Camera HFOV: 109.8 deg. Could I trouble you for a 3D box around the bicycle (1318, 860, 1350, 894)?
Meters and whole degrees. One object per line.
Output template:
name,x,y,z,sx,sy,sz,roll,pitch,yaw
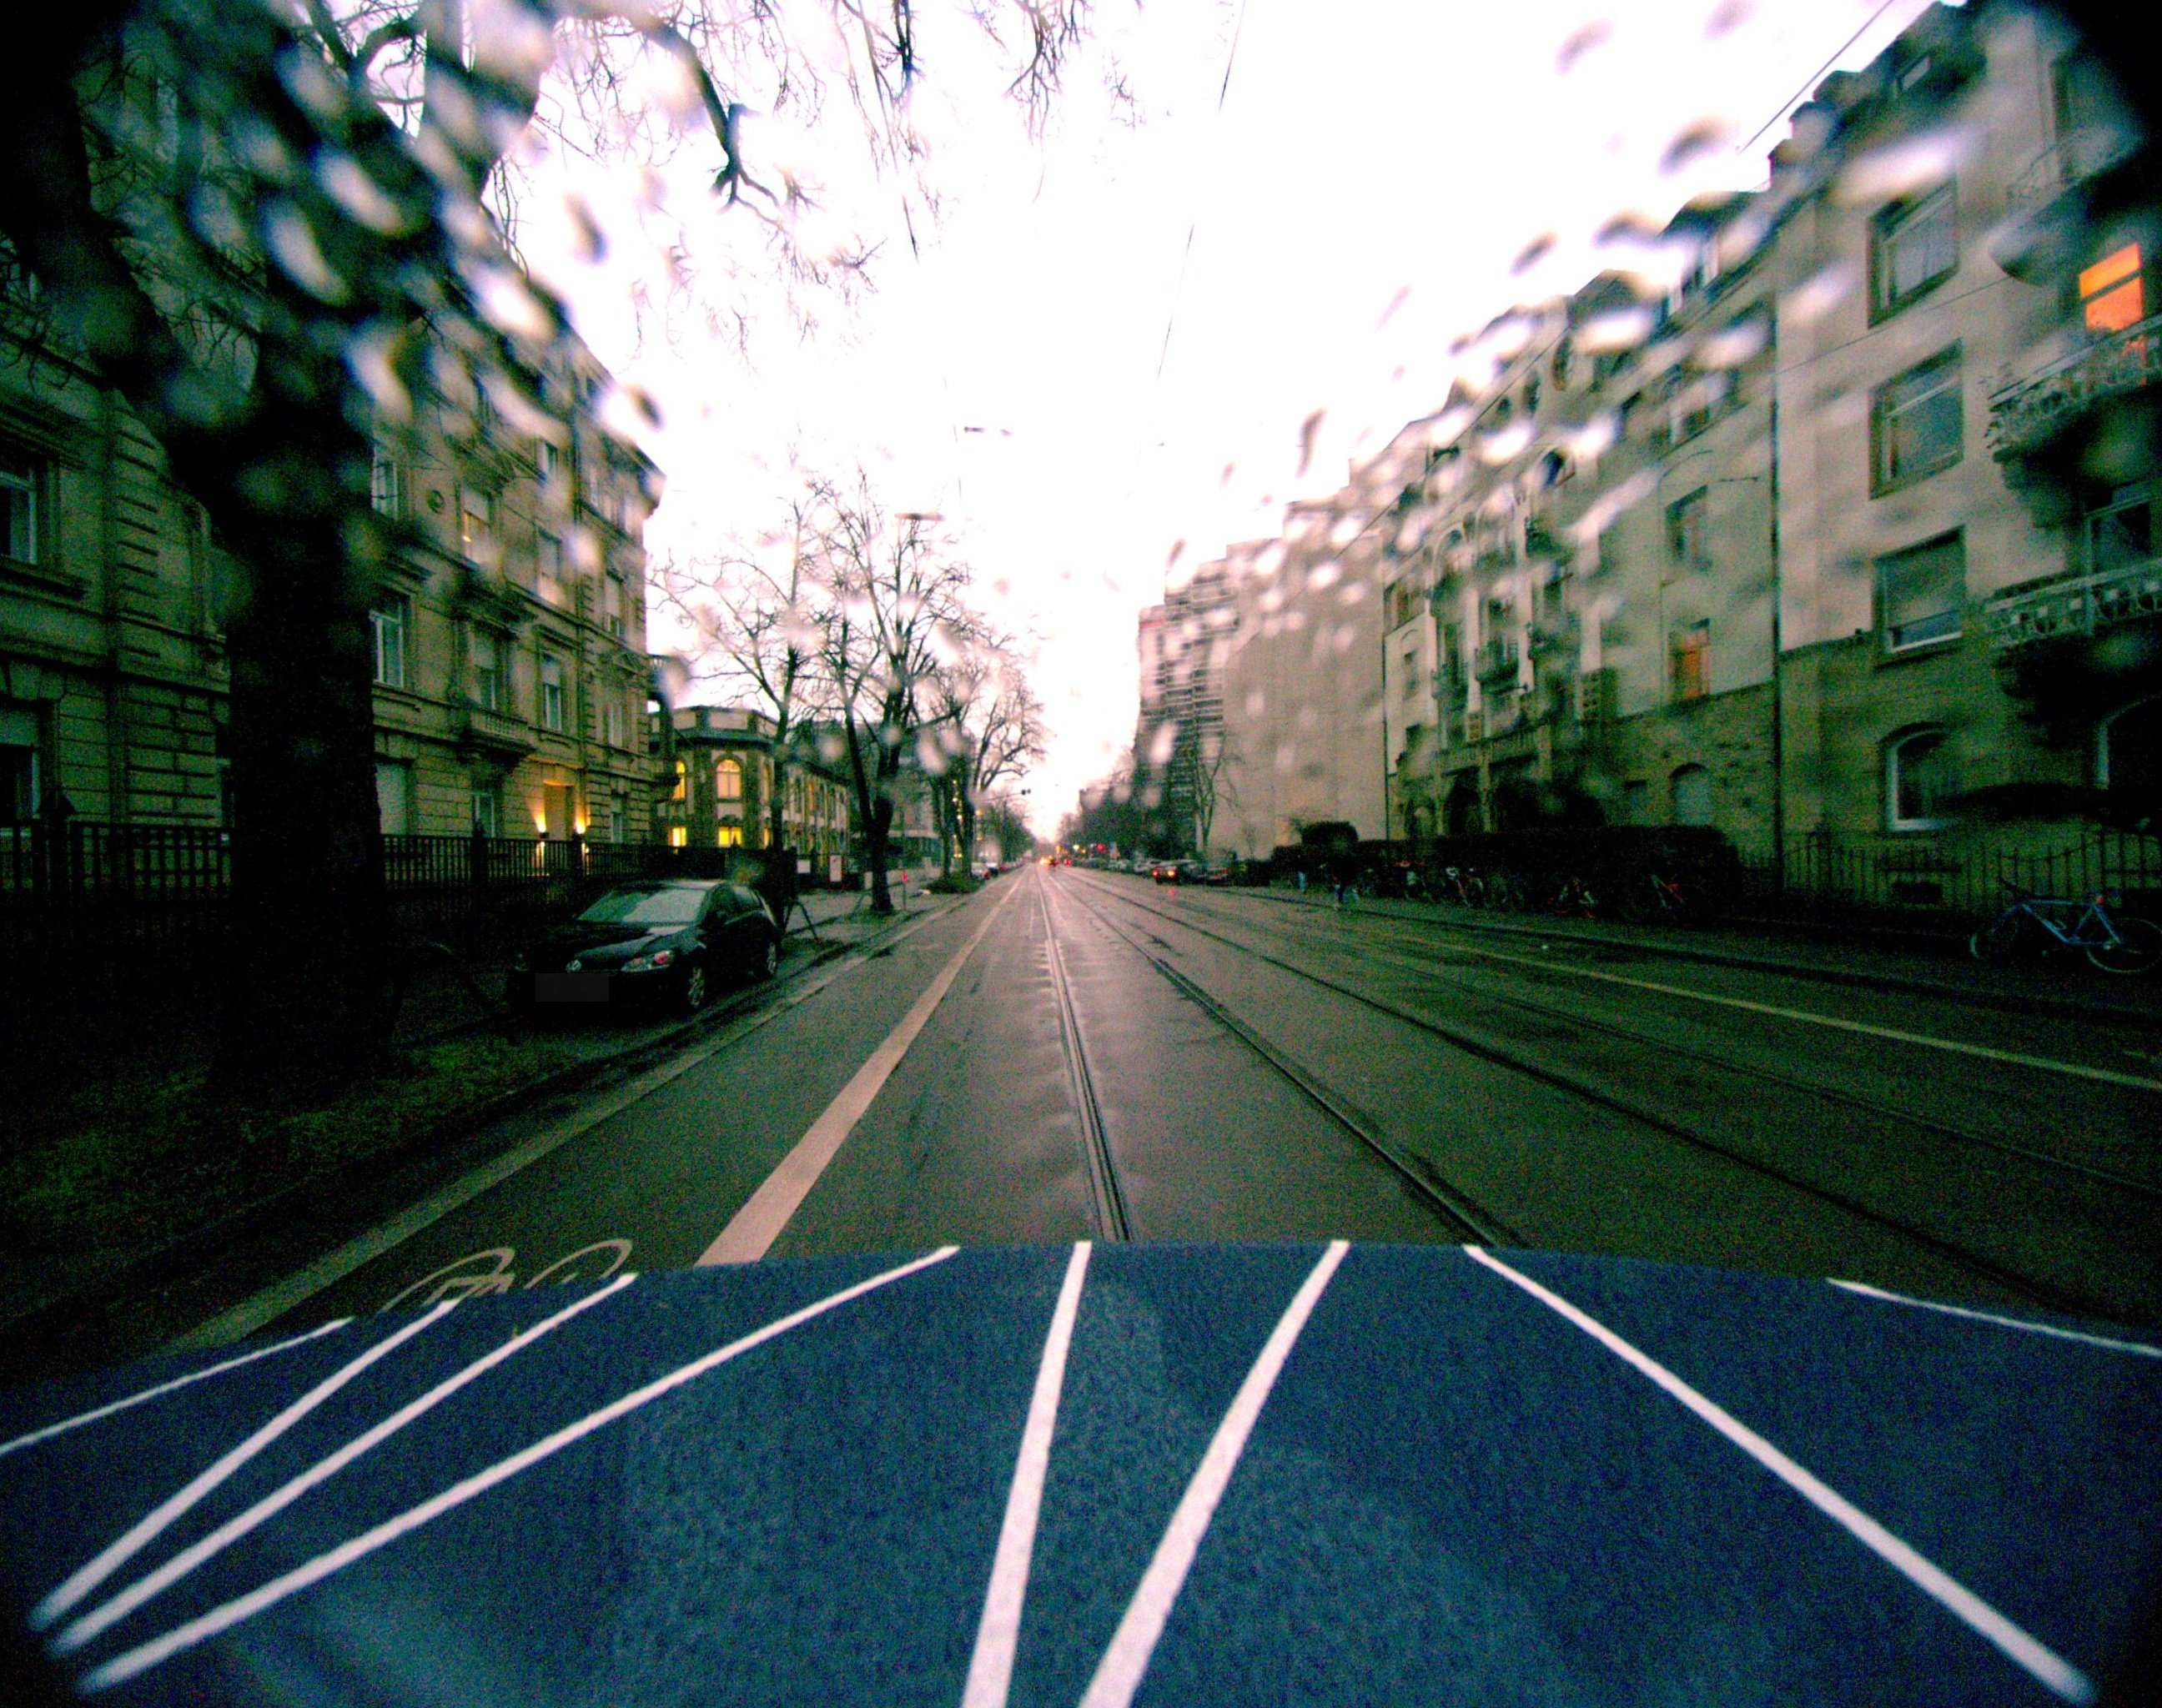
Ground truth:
bicycle,9.511,0.850,28.609,0.625,1.205,1.662,-1,0,-1

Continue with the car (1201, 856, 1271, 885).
car,8.816,0.899,43.083,4.008,1.477,1.760,-2,0,-40

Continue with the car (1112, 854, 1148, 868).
car,5.921,0.808,91.468,4.008,1.586,1.864,-2,0,-40

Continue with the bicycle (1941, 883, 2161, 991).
bicycle,10.718,0.849,8.354,0.625,0.997,1.662,-1,0,-1

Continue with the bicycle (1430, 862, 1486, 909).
bicycle,9.981,0.808,20.194,0.625,1.157,1.662,-1,0,-1

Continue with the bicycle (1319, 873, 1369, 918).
bicycle,6.924,1.070,20.110,0.625,1.086,1.947,-1,0,-1

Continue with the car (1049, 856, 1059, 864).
car,-6.773,1.509,191.753,2.239,2.002,4.458,-2,1,-5

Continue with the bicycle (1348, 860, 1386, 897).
bicycle,9.797,0.828,26.101,0.625,1.205,1.662,-1,0,-1

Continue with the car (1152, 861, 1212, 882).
car,6.266,1.055,46.954,3.673,1.245,1.707,0,0,-41

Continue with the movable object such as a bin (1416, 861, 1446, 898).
movable object such as a bin,11.307,0.813,24.564,0.625,1.157,0.674,-1,0,-1

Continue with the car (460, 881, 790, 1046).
car,-5.099,1.113,9.271,1.763,1.437,4.156,1,-1,-4

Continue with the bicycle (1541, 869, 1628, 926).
bicycle,10.382,0.869,15.726,0.625,1.059,1.726,-1,0,-1

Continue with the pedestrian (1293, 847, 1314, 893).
pedestrian,8.535,0.612,29.130,0.574,1.715,0.644,-3,2,1

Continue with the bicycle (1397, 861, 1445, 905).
bicycle,9.953,0.830,22.269,0.625,1.205,1.662,-1,0,-1

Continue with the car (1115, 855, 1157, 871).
car,5.648,0.908,77.843,4.008,1.586,1.864,-2,0,-40

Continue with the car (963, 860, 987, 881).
car,-7.905,1.216,57.030,1.628,1.399,3.997,-2,1,-6

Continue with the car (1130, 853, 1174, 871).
car,6.846,0.778,72.704,4.008,1.586,1.864,-2,0,-40

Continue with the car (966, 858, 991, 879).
car,-9.012,1.237,67.076,2.000,1.672,3.997,-2,1,-6

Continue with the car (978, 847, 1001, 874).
car,-9.270,0.593,77.073,2.094,2.622,5.446,-2,1,-6

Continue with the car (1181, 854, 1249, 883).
car,8.132,0.865,46.047,4.008,1.586,1.864,-2,0,-40

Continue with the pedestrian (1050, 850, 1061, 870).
pedestrian,-2.911,0.638,87.790,1.118,2.246,0.952,-2,1,-6

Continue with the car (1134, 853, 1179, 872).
car,6.938,0.796,69.623,4.008,1.586,1.864,-2,0,-40

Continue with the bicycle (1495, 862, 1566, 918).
bicycle,10.307,0.797,17.476,0.625,1.205,1.662,-1,0,-1

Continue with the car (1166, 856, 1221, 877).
car,8.453,0.945,56.798,4.008,1.440,1.864,-2,0,-40

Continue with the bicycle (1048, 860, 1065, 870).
bicycle,-2.844,1.280,87.775,1.918,0.986,0.858,-2,1,-5

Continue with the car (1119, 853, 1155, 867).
car,6.556,0.709,89.397,4.008,1.586,1.864,-2,0,-40

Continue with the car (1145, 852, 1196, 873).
car,7.453,0.722,63.096,4.008,1.586,1.864,-2,0,-40

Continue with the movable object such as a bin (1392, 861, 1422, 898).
movable object such as a bin,10.565,0.824,24.614,0.659,1.157,0.674,-1,0,-1

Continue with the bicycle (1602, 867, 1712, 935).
bicycle,10.431,0.824,13.844,0.625,1.119,1.783,-1,0,-1

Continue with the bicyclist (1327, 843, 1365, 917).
bicyclist,6.917,0.664,19.871,0.625,1.865,0.991,-1,0,-1

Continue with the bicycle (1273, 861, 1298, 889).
bicycle,9.076,0.913,33.816,0.625,1.157,1.662,-2,0,-1

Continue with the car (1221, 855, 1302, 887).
car,9.598,0.878,40.415,4.006,1.485,1.864,-2,0,-32
